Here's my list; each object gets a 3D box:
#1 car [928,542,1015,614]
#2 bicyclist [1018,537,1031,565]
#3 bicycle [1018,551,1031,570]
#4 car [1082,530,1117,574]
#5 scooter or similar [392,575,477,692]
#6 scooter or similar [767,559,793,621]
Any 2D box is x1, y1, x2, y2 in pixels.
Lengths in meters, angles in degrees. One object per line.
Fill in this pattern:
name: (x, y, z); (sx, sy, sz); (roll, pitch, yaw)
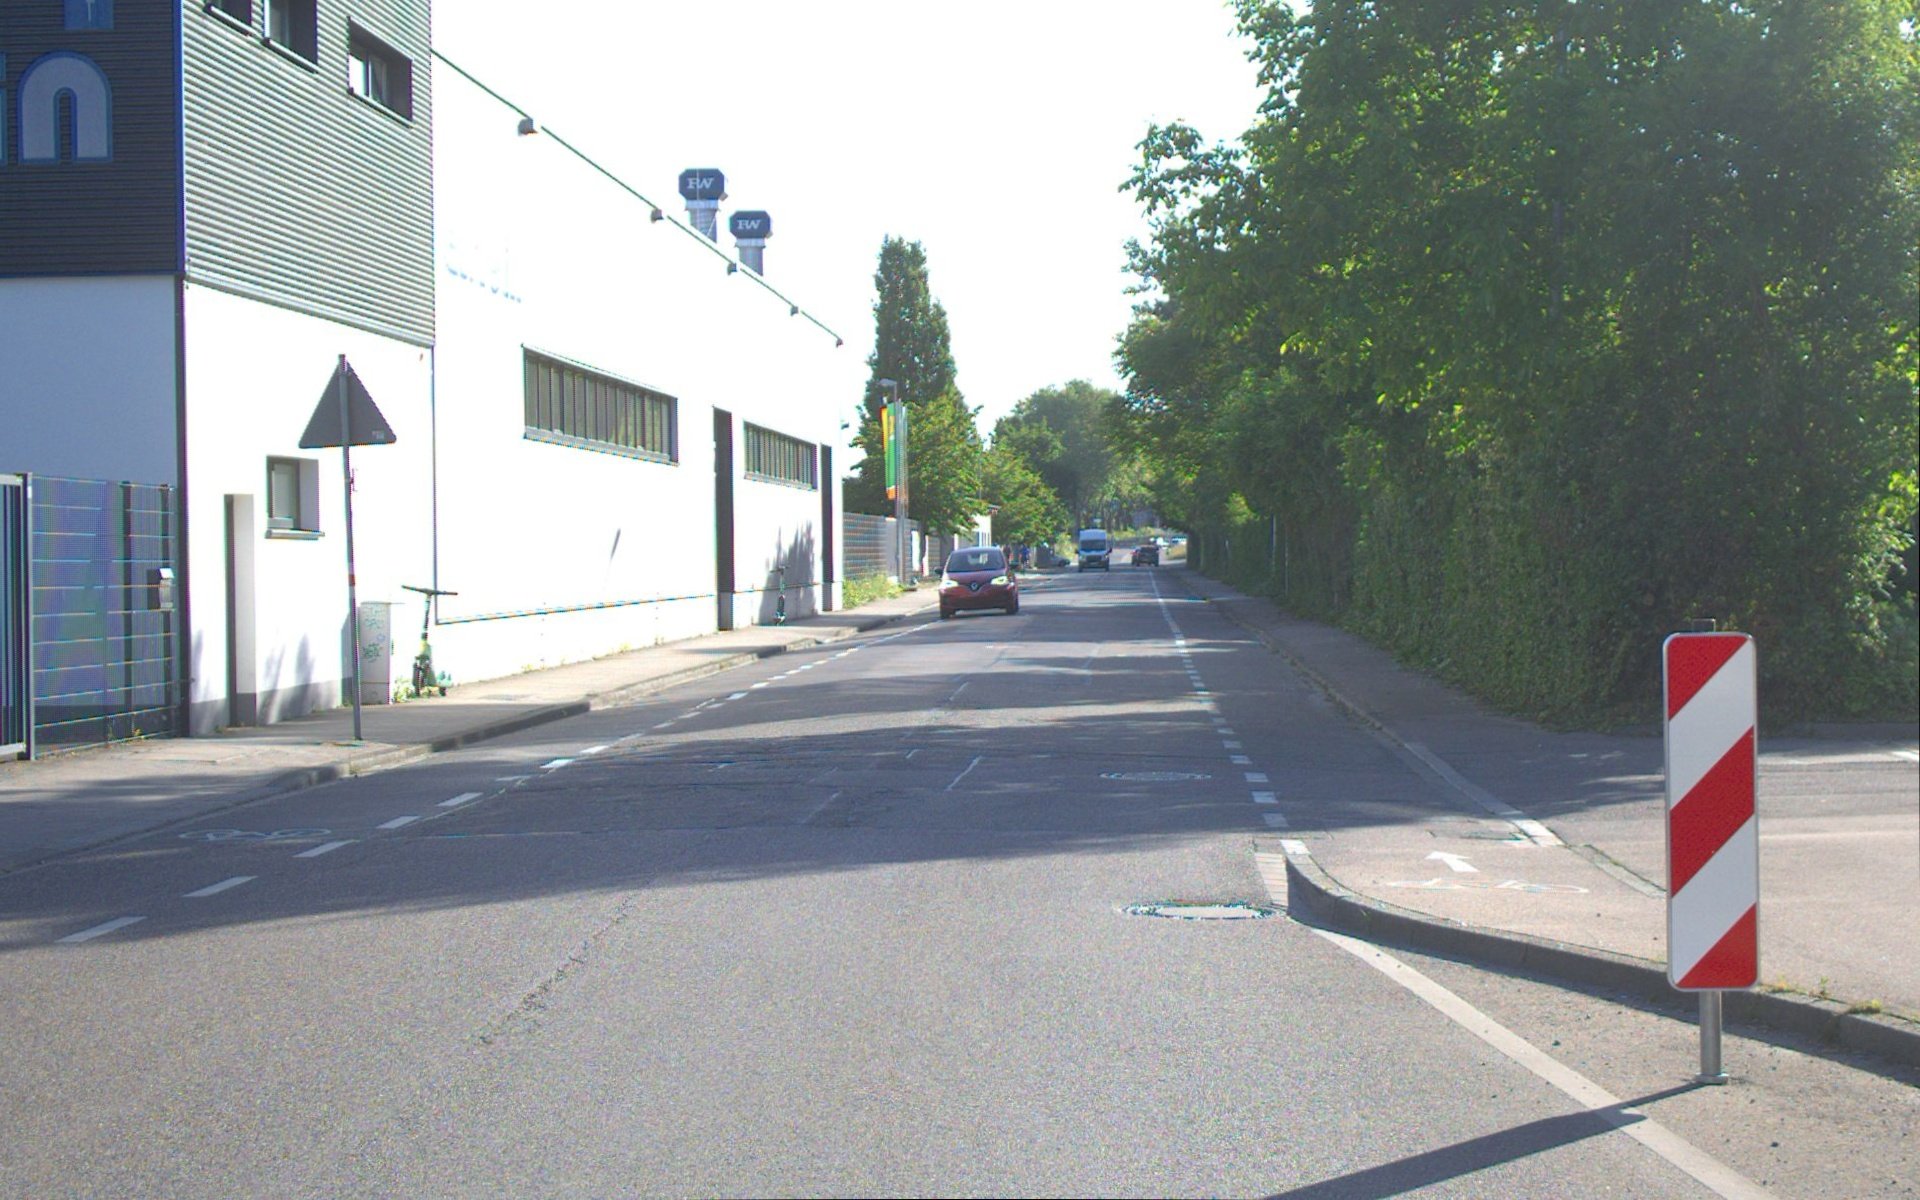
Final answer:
car: (0.297, -0.520, 79.442); (1.817, 1.484, 4.000); (-4, 1, 1)
bicyclist: (3.647, -2.776, 194.546); (0.689, 1.526, 0.722); (1, 1, 3)
bicycle: (3.641, -2.244, 194.642); (0.689, 1.030, 1.351); (1, 1, 3)
car: (9.187, -3.129, 225.565); (2.123, 2.771, 5.926); (-3, 1, 3)
scooter or similar: (-5.657, 0.347, 37.075); (0.507, 1.199, 1.753); (3, 1, 3)
scooter or similar: (-3.728, -0.213, 71.303); (0.416, 1.263, 1.059); (0, 1, 3)
